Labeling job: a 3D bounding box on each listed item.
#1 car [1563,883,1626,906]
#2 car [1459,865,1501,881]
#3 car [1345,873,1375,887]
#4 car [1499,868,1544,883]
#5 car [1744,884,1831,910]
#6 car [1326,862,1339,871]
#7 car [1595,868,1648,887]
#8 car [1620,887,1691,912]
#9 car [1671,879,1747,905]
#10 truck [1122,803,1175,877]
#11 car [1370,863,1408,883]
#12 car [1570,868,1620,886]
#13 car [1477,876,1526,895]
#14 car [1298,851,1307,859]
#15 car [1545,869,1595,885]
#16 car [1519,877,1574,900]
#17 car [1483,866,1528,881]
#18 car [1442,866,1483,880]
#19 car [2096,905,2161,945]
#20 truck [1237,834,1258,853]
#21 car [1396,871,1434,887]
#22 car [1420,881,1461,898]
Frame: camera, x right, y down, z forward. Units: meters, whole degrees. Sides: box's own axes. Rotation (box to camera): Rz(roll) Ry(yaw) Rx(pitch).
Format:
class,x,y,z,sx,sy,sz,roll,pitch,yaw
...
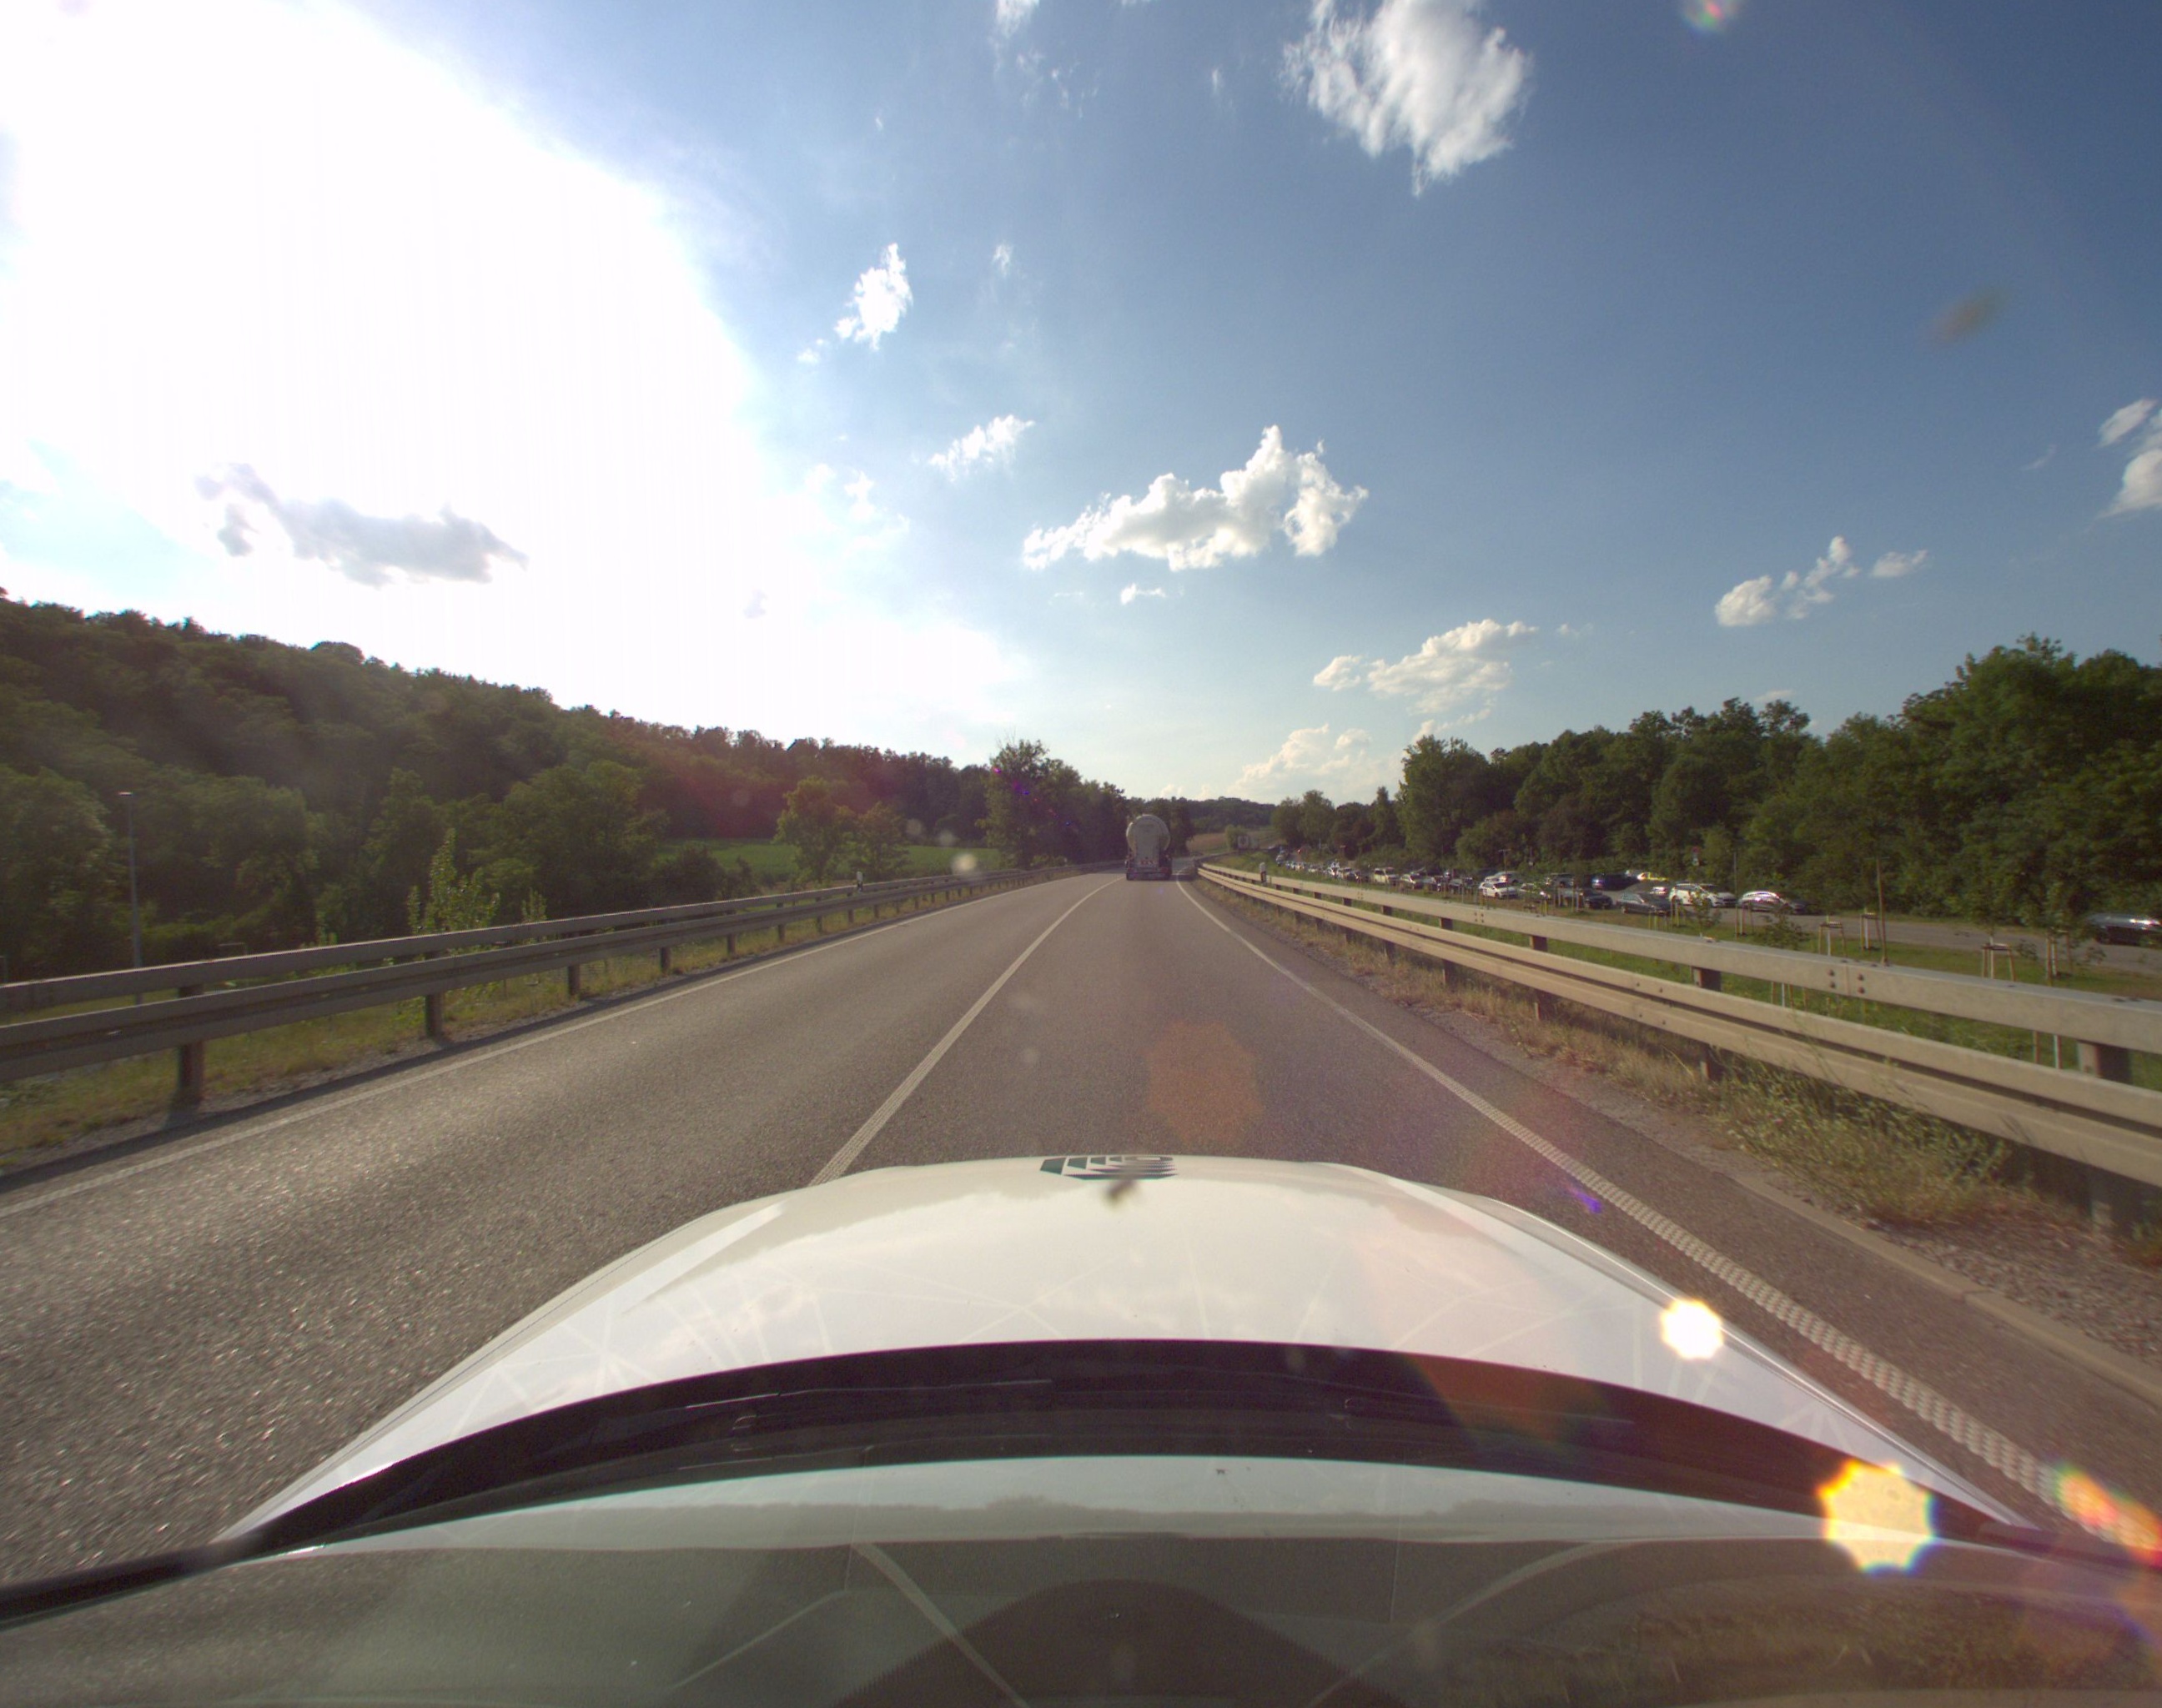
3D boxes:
class,x,y,z,sx,sy,sz,roll,pitch,yaw
car,39.963,3.125,63.523,1.817,1.401,4.245,-4,1,-8
car,47.708,2.234,97.341,4.232,1.742,1.828,-1,0,-10
car,36.853,3.401,107.617,1.888,1.482,4.776,-6,1,-4
car,47.897,2.298,88.538,4.234,1.456,1.612,-1,0,-11
car,45.583,2.736,52.659,1.652,1.496,4.214,-3,-1,-6
car,44.965,2.213,145.679,1.690,1.398,4.800,-5,-1,11
car,51.363,2.216,77.350,4.234,1.456,1.612,-3,1,-11
car,40.313,3.153,57.246,1.652,1.496,4.214,-3,-1,-6
car,45.291,2.737,58.911,1.651,1.666,4.703,-3,-1,-3
truck,4.526,-0.778,53.093,2.878,4.142,13.193,-1,0,6
car,37.325,2.298,98.731,2.115,2.017,5.372,-6,1,-4
car,50.479,2.247,80.012,4.234,1.456,1.612,-2,0,-11
car,38.969,2.871,75.594,1.817,1.482,4.245,-4,1,-8
car,53.905,0.229,198.210,1.878,1.686,5.107,-5,1,14
car,49.786,2.326,82.940,4.407,1.456,1.726,-2,0,-14
car,39.506,2.919,69.194,1.817,1.658,4.245,-4,1,-8
car,47.585,2.217,91.358,4.232,1.498,1.766,-1,0,-10
car,47.381,2.296,101.077,4.225,1.604,1.830,-1,-1,-5
car,46.110,3.033,34.423,1.647,1.496,3.832,-3,-1,3
truck,39.664,-2.614,193.831,3.157,4.227,13.236,-3,0,19
car,37.702,2.827,92.068,1.888,1.482,4.776,-6,1,-4
car,37.967,3.759,86.120,1.817,1.482,4.383,-4,1,-8
